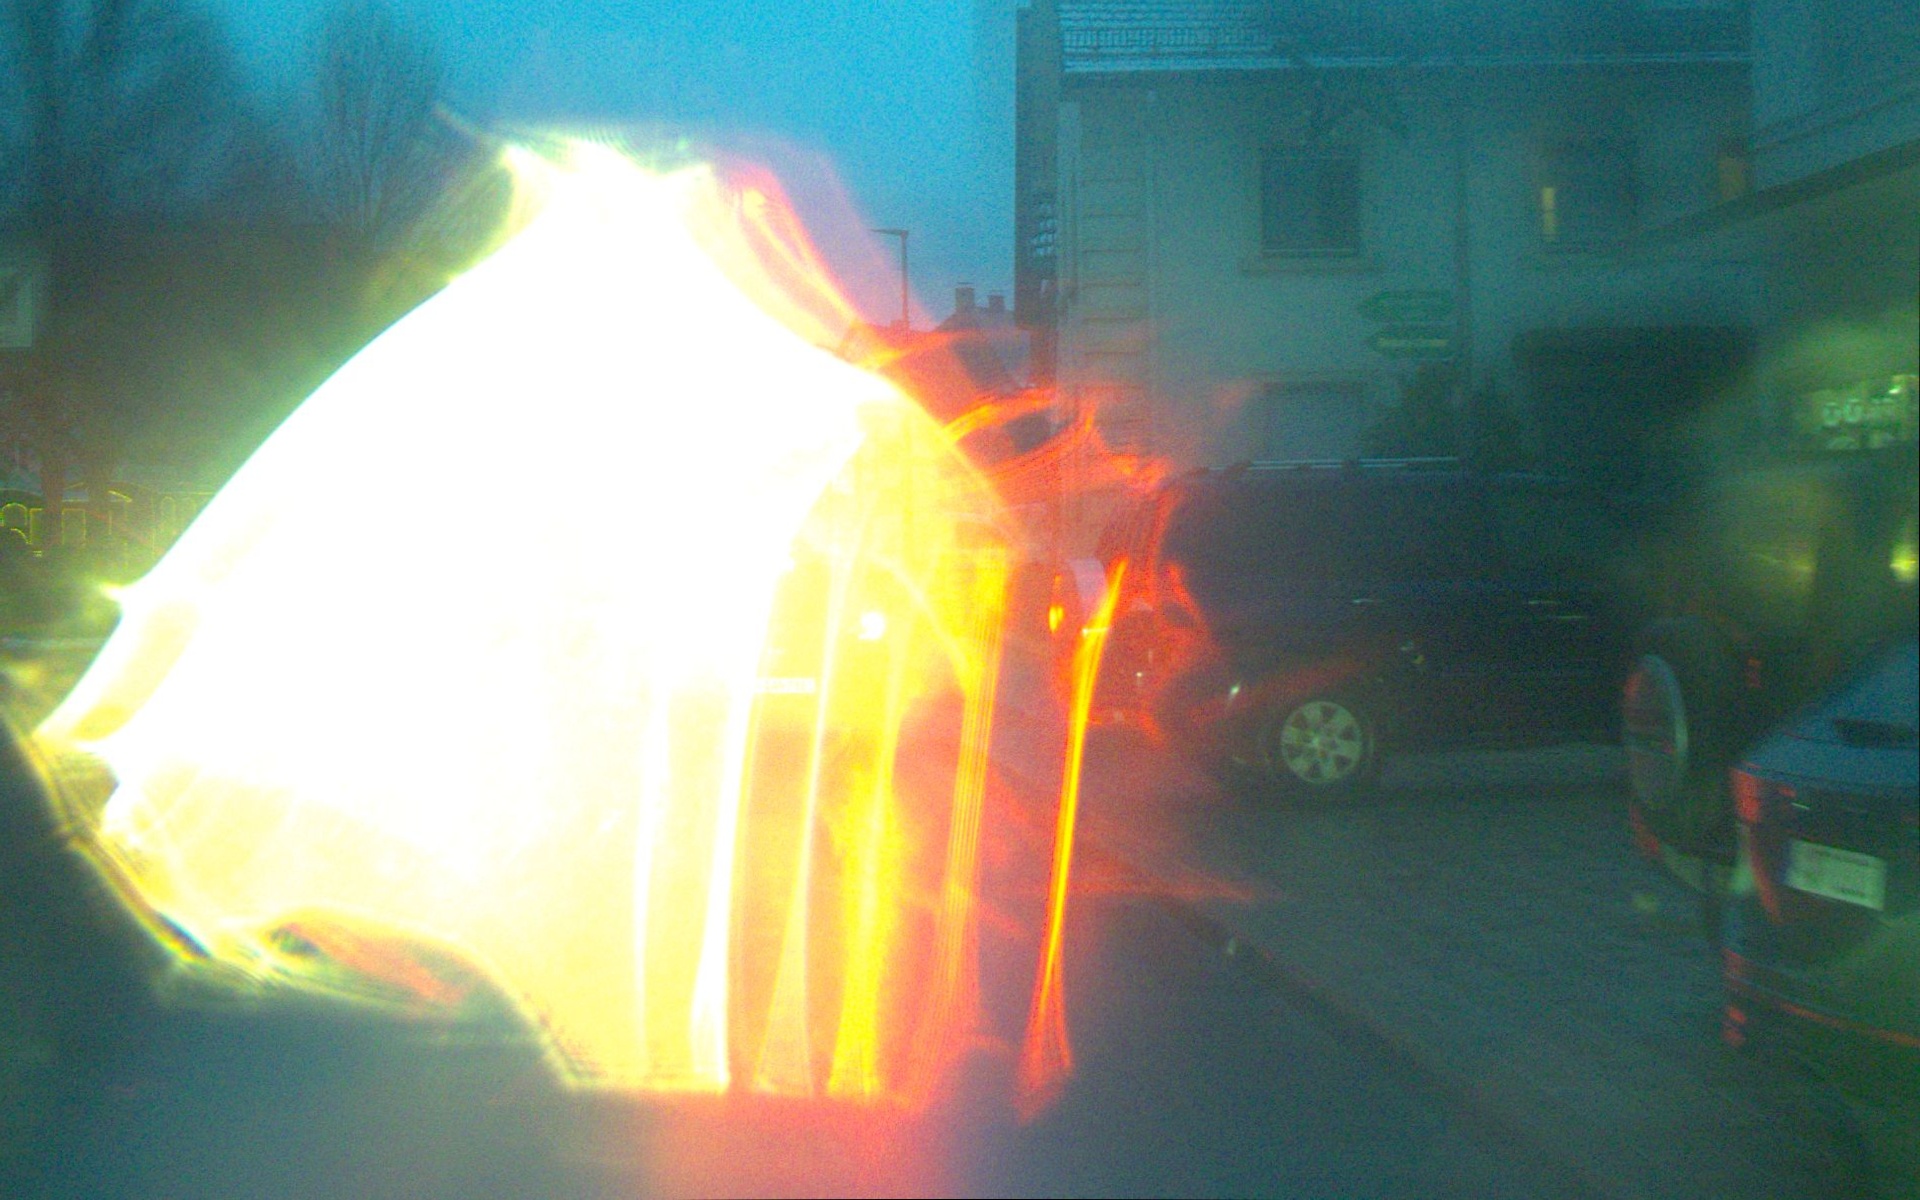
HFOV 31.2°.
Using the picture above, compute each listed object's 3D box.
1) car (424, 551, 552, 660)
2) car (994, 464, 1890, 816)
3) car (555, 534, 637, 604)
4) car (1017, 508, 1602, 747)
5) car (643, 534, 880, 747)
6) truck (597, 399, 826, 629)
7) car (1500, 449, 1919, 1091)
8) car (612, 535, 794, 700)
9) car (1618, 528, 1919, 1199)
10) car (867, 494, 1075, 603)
[{"bbox_3d":[-6.967,0.056,50.992,1.638,1.530,3.407,0,1,-3],"label":"car"},{"bbox_3d":[2.634,0.174,19.339,4.602,1.769,1.946,-1,1,-8],"label":"car"},{"bbox_3d":[-8.638,-0.764,81.839,1.810,1.590,4.400,0,1,-5],"label":"car"},{"bbox_3d":[2.477,0.170,24.790,3.868,1.574,1.682,-1,1,-9],"label":"car"},{"bbox_3d":[-1.482,0.260,25.674,1.638,1.476,3.379,0,1,-3],"label":"car"},{"bbox_3d":[-3.800,-1.247,50.824,3.015,3.118,8.002,0,1,-7],"label":"truck"},{"bbox_3d":[3.589,0.364,10.203,3.503,1.675,1.716,-3,2,-9],"label":"car"},{"bbox_3d":[-2.452,0.131,32.890,1.637,1.476,3.272,0,1,-4],"label":"car"},{"bbox_3d":[3.862,0.531,7.259,4.466,1.468,1.898,-2,1,-5],"label":"car"},{"bbox_3d":[0.251,-1.040,69.155,4.097,2.155,1.913,0,1,3],"label":"car"}]
